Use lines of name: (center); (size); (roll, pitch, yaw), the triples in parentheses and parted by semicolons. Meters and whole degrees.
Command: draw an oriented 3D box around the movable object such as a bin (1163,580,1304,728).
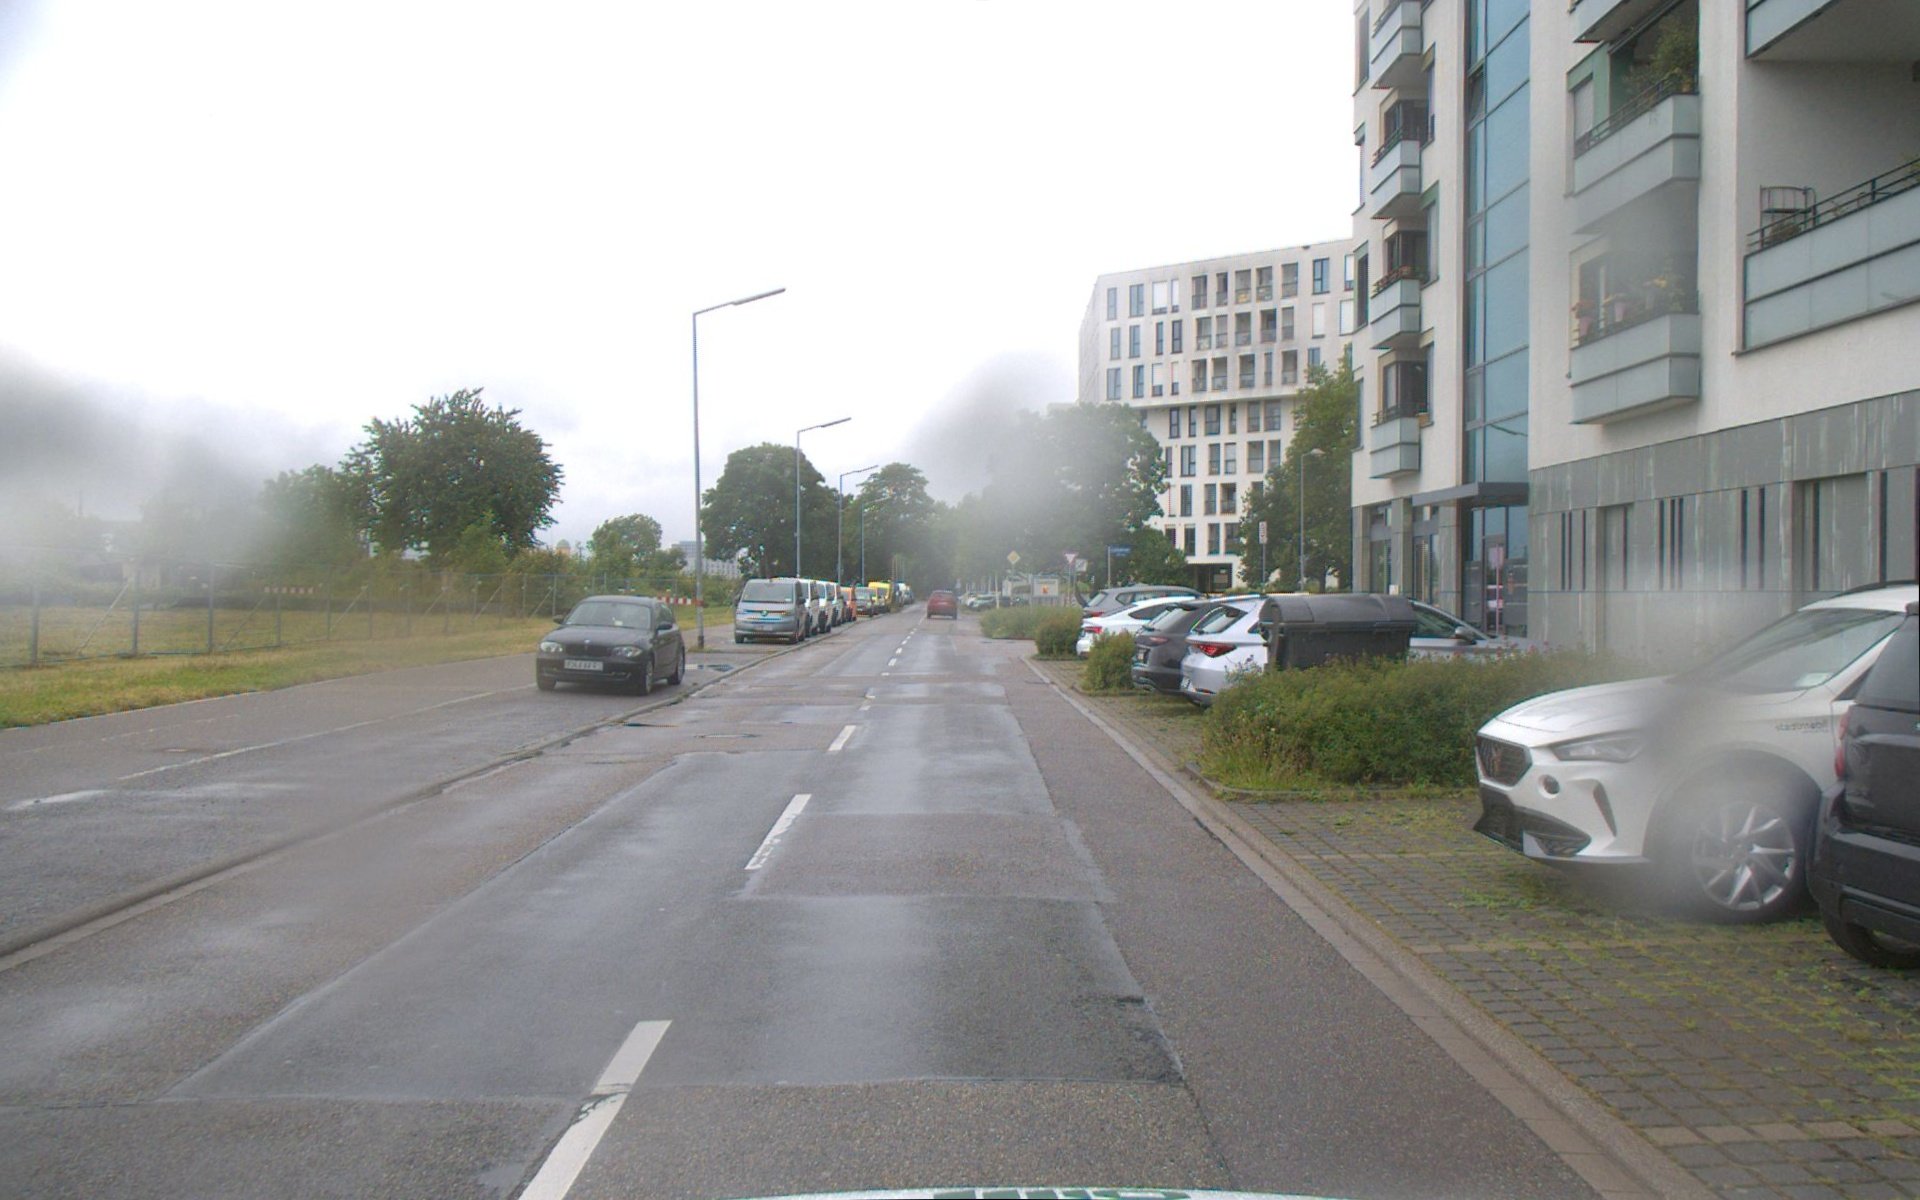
movable object such as a bin: (3.040, 0.569, 18.569); (1.274, 1.553, 1.581); (-2, 0, -1)

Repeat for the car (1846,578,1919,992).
car: (4.852, 0.645, 6.069); (2.574, 1.533, 1.206); (-2, 0, -7)

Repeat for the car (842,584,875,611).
car: (-6.388, -0.152, 104.482); (1.767, 1.588, 4.032); (3, 1, -1)

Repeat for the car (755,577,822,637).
car: (-6.067, 0.217, 58.903); (1.856, 2.049, 5.257); (0, 0, 0)

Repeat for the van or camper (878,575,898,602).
van or camper: (-7.942, -1.217, 181.721); (2.053, 2.763, 7.570); (3, 0, -2)

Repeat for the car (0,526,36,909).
car: (-5.249, 0.550, 5.287); (1.716, 1.722, 4.882); (0, 1, 2)

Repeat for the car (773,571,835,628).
car: (-6.031, -0.048, 64.669); (1.920, 2.094, 5.274); (1, 0, 0)

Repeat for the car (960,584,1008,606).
car: (2.298, -0.499, 159.663); (4.451, 1.714, 1.884); (-5, 0, -4)

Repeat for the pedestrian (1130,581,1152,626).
pedestrian: (8.253, 0.173, 75.486); (0.945, 2.049, 0.622); (0, 0, -1)

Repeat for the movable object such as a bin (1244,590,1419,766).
movable object such as a bin: (3.455, 0.693, 15.568); (1.274, 1.553, 1.581); (1, 0, -1)

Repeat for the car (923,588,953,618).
car: (-1.309, 0.156, 98.634); (1.721, 1.735, 3.999); (0, 0, -2)

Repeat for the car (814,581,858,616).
car: (-6.536, -0.096, 87.588); (1.900, 1.798, 4.331); (0, 0, 1)

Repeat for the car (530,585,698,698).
car: (-5.433, 0.602, 26.478); (1.809, 1.588, 4.152); (3, 0, -1)

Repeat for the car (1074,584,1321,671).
car: (4.416, 0.494, 31.214); (4.320, 1.429, 1.910); (-2, 0, -2)

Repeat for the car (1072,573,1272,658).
car: (4.573, 0.320, 36.114); (4.007, 1.652, 1.965); (-2, 0, -2)

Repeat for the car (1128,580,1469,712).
car: (4.286, 0.557, 21.472); (3.978, 1.523, 2.058); (-1, 0, 0)

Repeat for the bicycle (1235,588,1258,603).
bicycle: (20.221, -0.323, 116.876); (0.711, 1.051, 2.064); (0, 0, 38)

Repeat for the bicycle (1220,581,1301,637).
bicycle: (8.442, 0.251, 46.440); (2.142, 1.549, 0.631); (-1, 0, 20)

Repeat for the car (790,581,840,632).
car: (-6.653, 0.274, 76.414); (1.903, 2.275, 5.556); (0, 1, -1)

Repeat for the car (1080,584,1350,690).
car: (3.947, 0.554, 26.035); (3.907, 1.505, 1.878); (-1, 0, -2)

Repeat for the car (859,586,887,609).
car: (-6.790, -0.191, 129.473); (1.953, 1.622, 5.015); (3, 0, -2)

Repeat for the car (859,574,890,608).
car: (-7.250, -0.755, 141.124); (2.147, 2.741, 6.082); (3, 0, 1)

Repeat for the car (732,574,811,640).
car: (-5.783, 0.181, 51.266); (1.916, 1.935, 4.994); (1, 0, -1)

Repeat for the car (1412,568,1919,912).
car: (4.847, 0.628, 8.912); (4.258, 1.557, 1.893); (-2, 0, -1)
